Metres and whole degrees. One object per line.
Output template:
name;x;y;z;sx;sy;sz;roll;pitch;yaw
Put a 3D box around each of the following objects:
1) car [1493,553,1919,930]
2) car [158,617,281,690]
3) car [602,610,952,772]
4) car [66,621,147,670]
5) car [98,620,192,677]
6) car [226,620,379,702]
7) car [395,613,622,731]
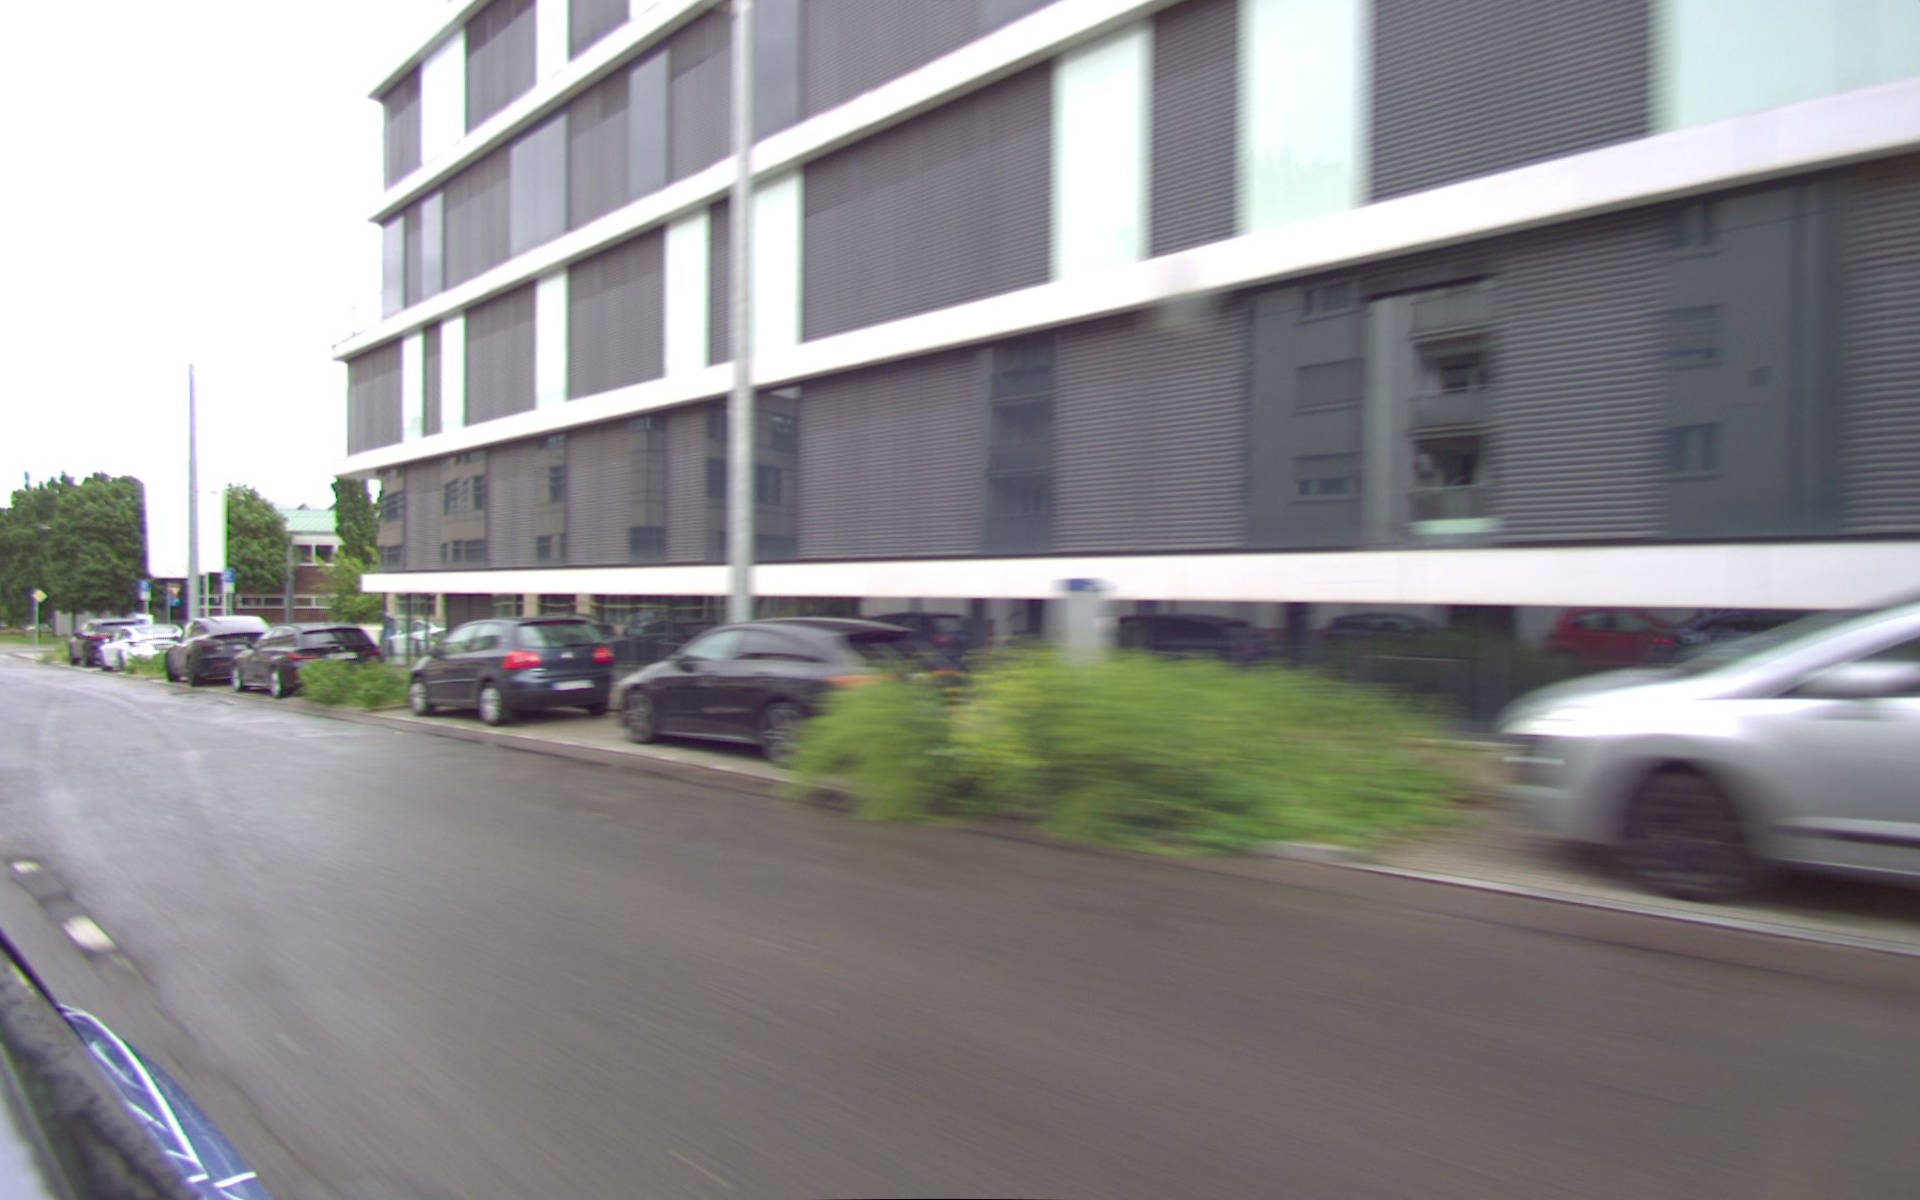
car;5.097;0.569;4.649;4.361;1.601;1.811;-1;1;42
car;-18.295;1.258;24.945;4.040;1.597;1.621;-1;0;42
car;-2.114;0.854;10.970;4.040;1.404;1.545;-1;0;42
car;-30.503;1.597;36.122;4.040;1.597;1.621;-1;0;42
car;-25.495;1.468;31.620;4.040;1.597;1.621;-1;0;42
car;-13.687;1.200;20.990;4.040;1.483;1.621;-1;0;42
car;-6.811;0.981;15.074;4.040;1.483;1.545;-1;0;42
